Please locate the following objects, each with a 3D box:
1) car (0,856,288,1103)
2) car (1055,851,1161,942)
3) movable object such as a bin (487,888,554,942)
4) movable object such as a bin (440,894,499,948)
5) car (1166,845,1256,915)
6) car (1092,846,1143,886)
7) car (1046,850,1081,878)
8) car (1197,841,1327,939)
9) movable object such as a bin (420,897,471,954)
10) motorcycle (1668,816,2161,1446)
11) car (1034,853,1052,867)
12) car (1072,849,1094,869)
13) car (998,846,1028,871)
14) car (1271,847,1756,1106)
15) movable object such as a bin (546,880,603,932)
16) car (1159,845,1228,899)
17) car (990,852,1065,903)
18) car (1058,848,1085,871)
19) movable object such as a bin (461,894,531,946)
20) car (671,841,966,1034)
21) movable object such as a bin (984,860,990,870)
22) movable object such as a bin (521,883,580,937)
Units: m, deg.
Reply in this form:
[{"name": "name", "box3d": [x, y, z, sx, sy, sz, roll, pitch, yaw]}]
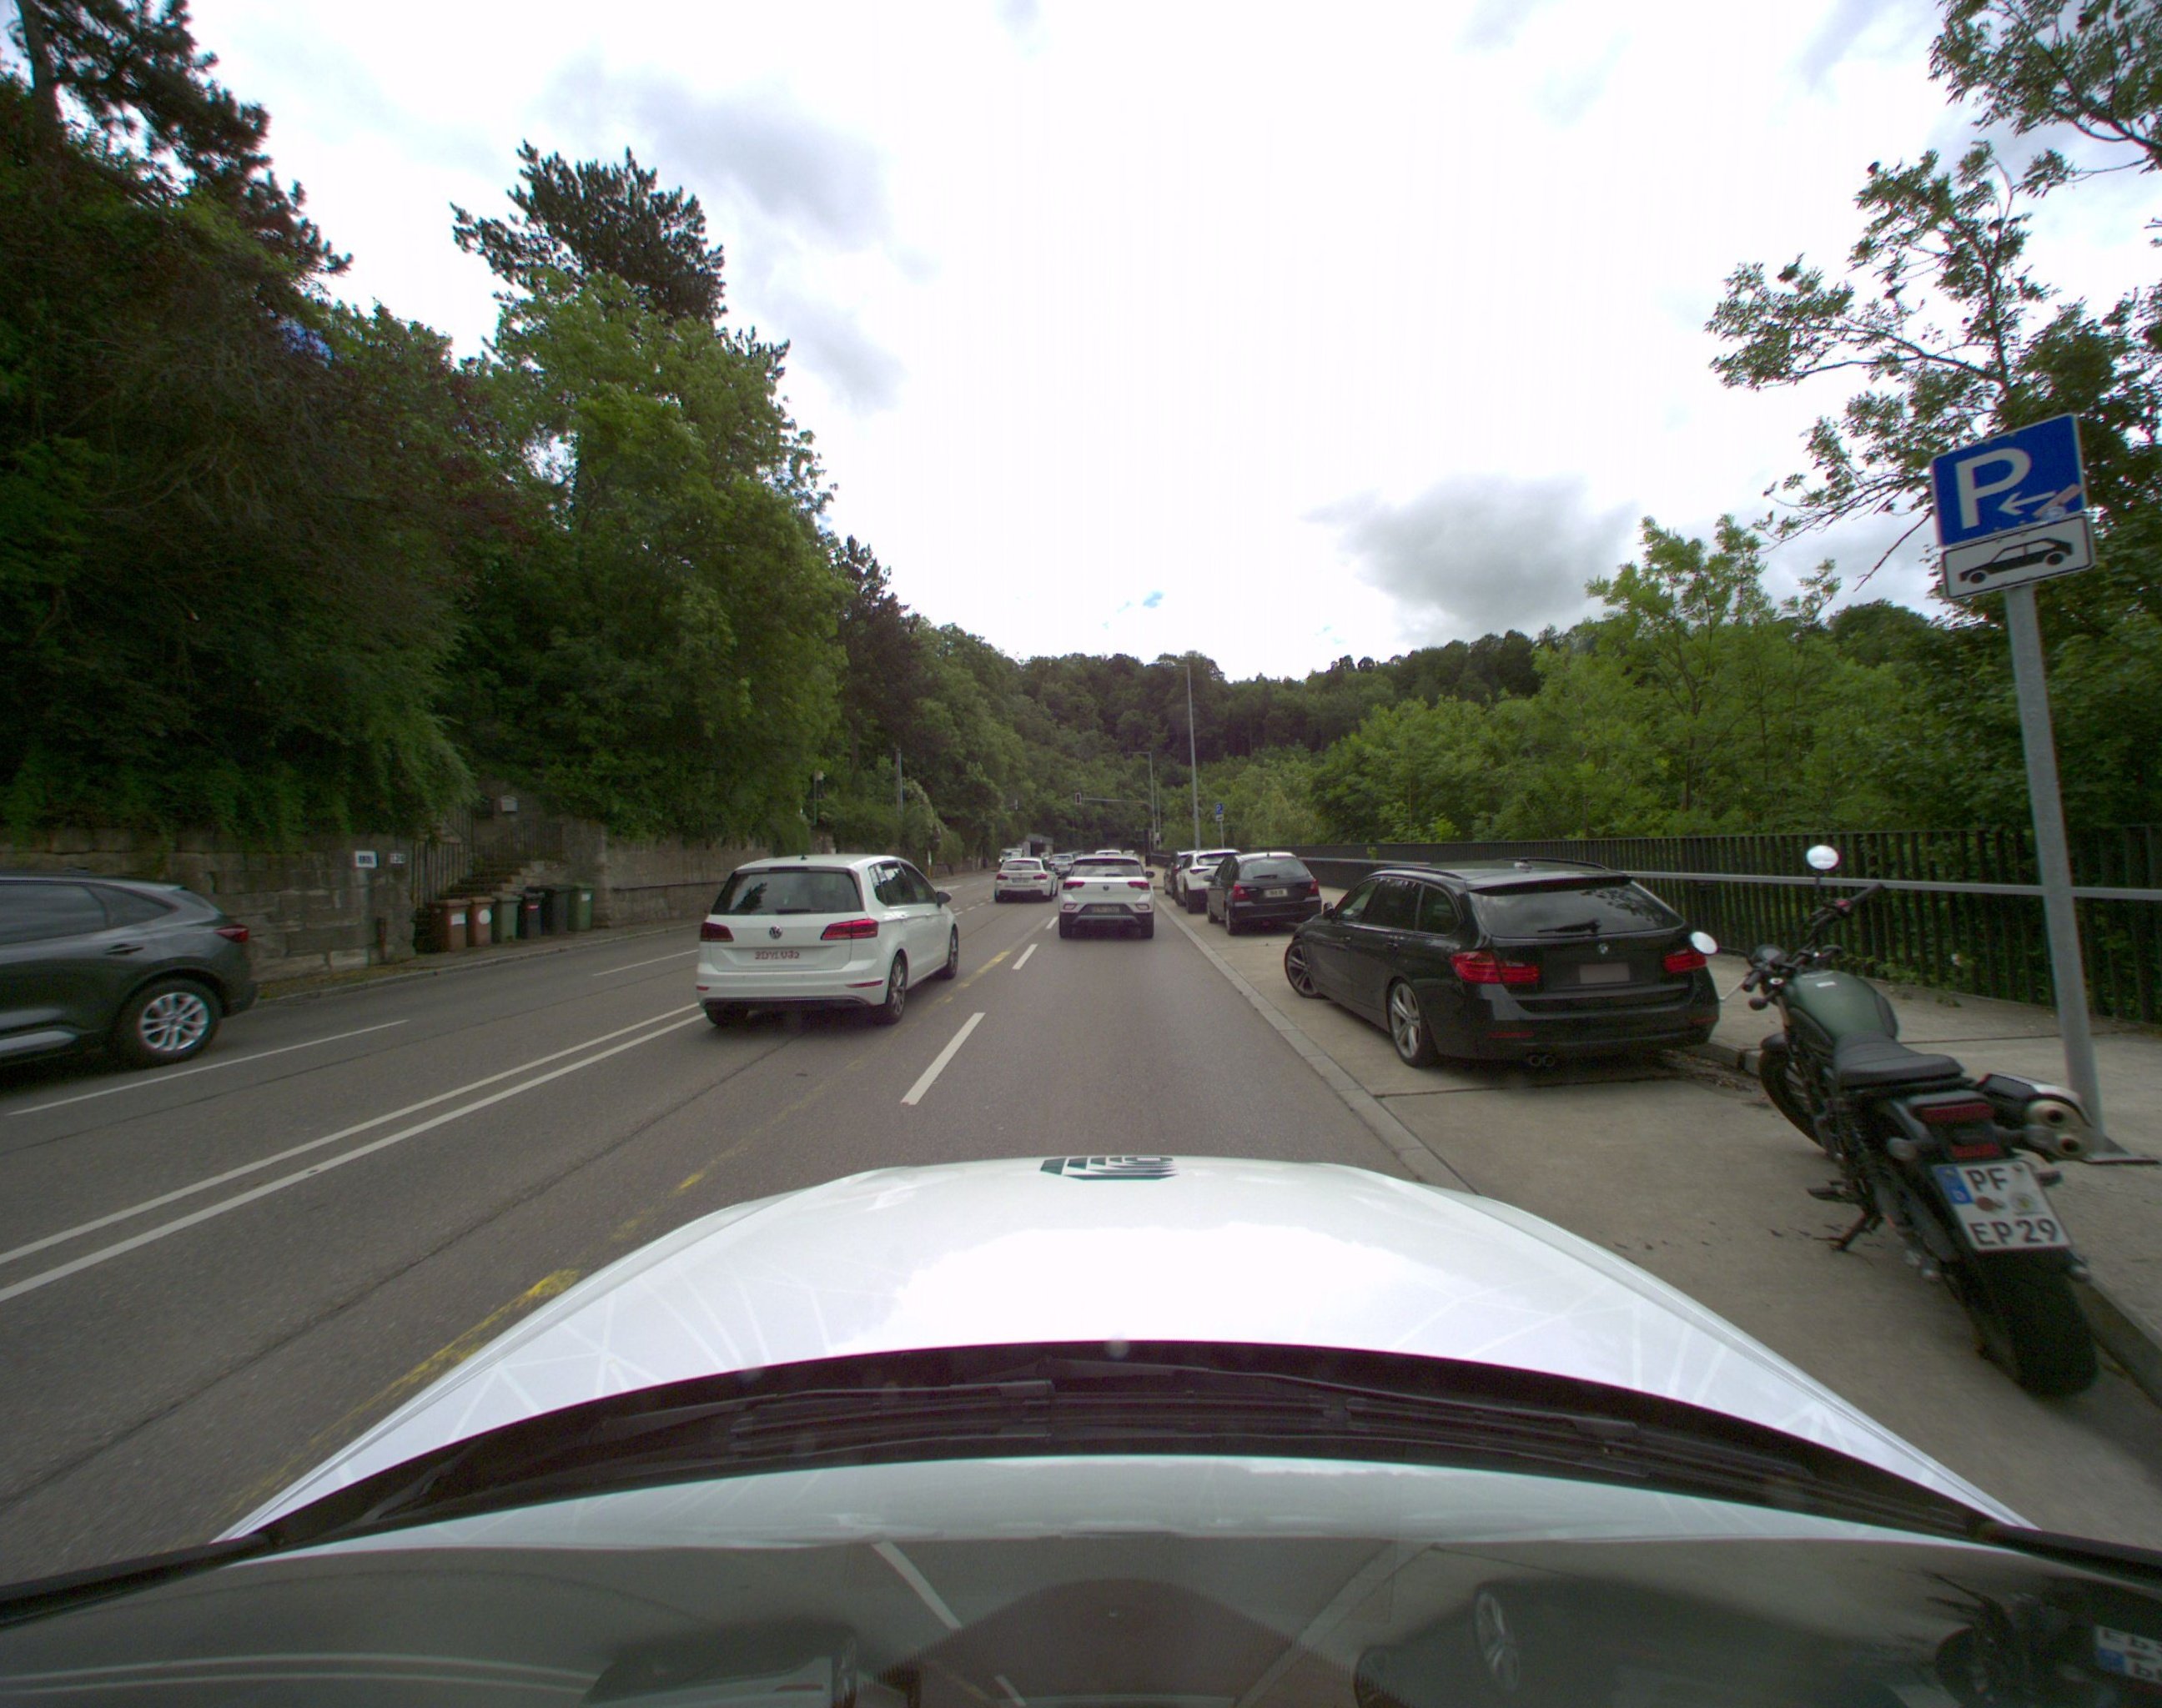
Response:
[{"name": "car", "box3d": [-8.356, 0.879, 5.342, 1.808, 1.697, 4.472, -1, 0, 2]}, {"name": "car", "box3d": [0.498, 0.763, 16.363, 1.807, 1.539, 4.008, -2, 0, 0]}, {"name": "movable object such as a bin", "box3d": [-11.461, 1.232, 16.676, 0.896, 1.034, 0.621, -2, 0, -2]}, {"name": "movable object such as a bin", "box3d": [-11.576, 1.257, 15.422, 0.672, 0.966, 0.543, -2, 0, -2]}, {"name": "car", "box3d": [3.339, 0.636, 21.721, 1.720, 1.568, 4.626, -3, 0, 2]}, {"name": "car", "box3d": [1.834, 0.542, 39.681, 1.982, 1.843, 4.161, 0, 0, 9]}, {"name": "car", "box3d": [-1.015, 0.611, 48.995, 1.855, 1.595, 4.002, 0, -1, 2]}, {"name": "car", "box3d": [3.454, 0.628, 16.314, 1.653, 1.572, 4.257, -5, 0, 2]}, {"name": "movable object such as a bin", "box3d": [-11.436, 1.271, 14.666, 0.515, 0.966, 0.474, -2, 0, -2]}, {"name": "motorcycle", "box3d": [2.891, 0.638, 3.134, 0.762, 1.467, 2.520, -1, 0, 30]}, {"name": "car", "box3d": [-4.518, 0.714, 97.237, 1.669, 1.442, 4.238, 0, 2, 4]}, {"name": "car", "box3d": [0.239, 0.465, 80.455, 1.986, 1.864, 4.003, -1, 0, 2]}, {"name": "car", "box3d": [-5.851, 0.347, 70.769, 1.914, 2.005, 5.359, -2, 0, 2]}, {"name": "car", "box3d": [3.054, 0.723, 6.964, 1.817, 1.401, 4.319, -4, 0, 1]}, {"name": "movable object such as a bin", "box3d": [-11.287, 1.154, 18.159, 0.785, 1.071, 0.708, -2, 1, -2]}, {"name": "car", "box3d": [3.771, 0.564, 27.919, 1.750, 1.544, 4.429, -5, 0, 2]}, {"name": "car", "box3d": [-1.726, 0.737, 27.825, 1.985, 1.557, 4.684, -1, 0, 3]}, {"name": "car", "box3d": [-0.731, 0.430, 66.846, 1.986, 1.741, 4.003, -1, 0, 2]}, {"name": "movable object such as a bin", "box3d": [-11.508, 1.285, 16.038, 0.914, 0.945, 0.593, -2, 0, -2]}, {"name": "car", "box3d": [-2.473, 0.688, 8.868, 1.714, 1.554, 4.276, -1, 0, 1]}, {"name": "movable object such as a bin", "box3d": [-8.880, 1.068, 76.871, 0.425, 0.950, 0.479, 0, -1, 0]}, {"name": "movable object such as a bin", "box3d": [-11.337, 1.186, 17.422, 0.770, 1.061, 0.717, -2, 0, -2]}]
